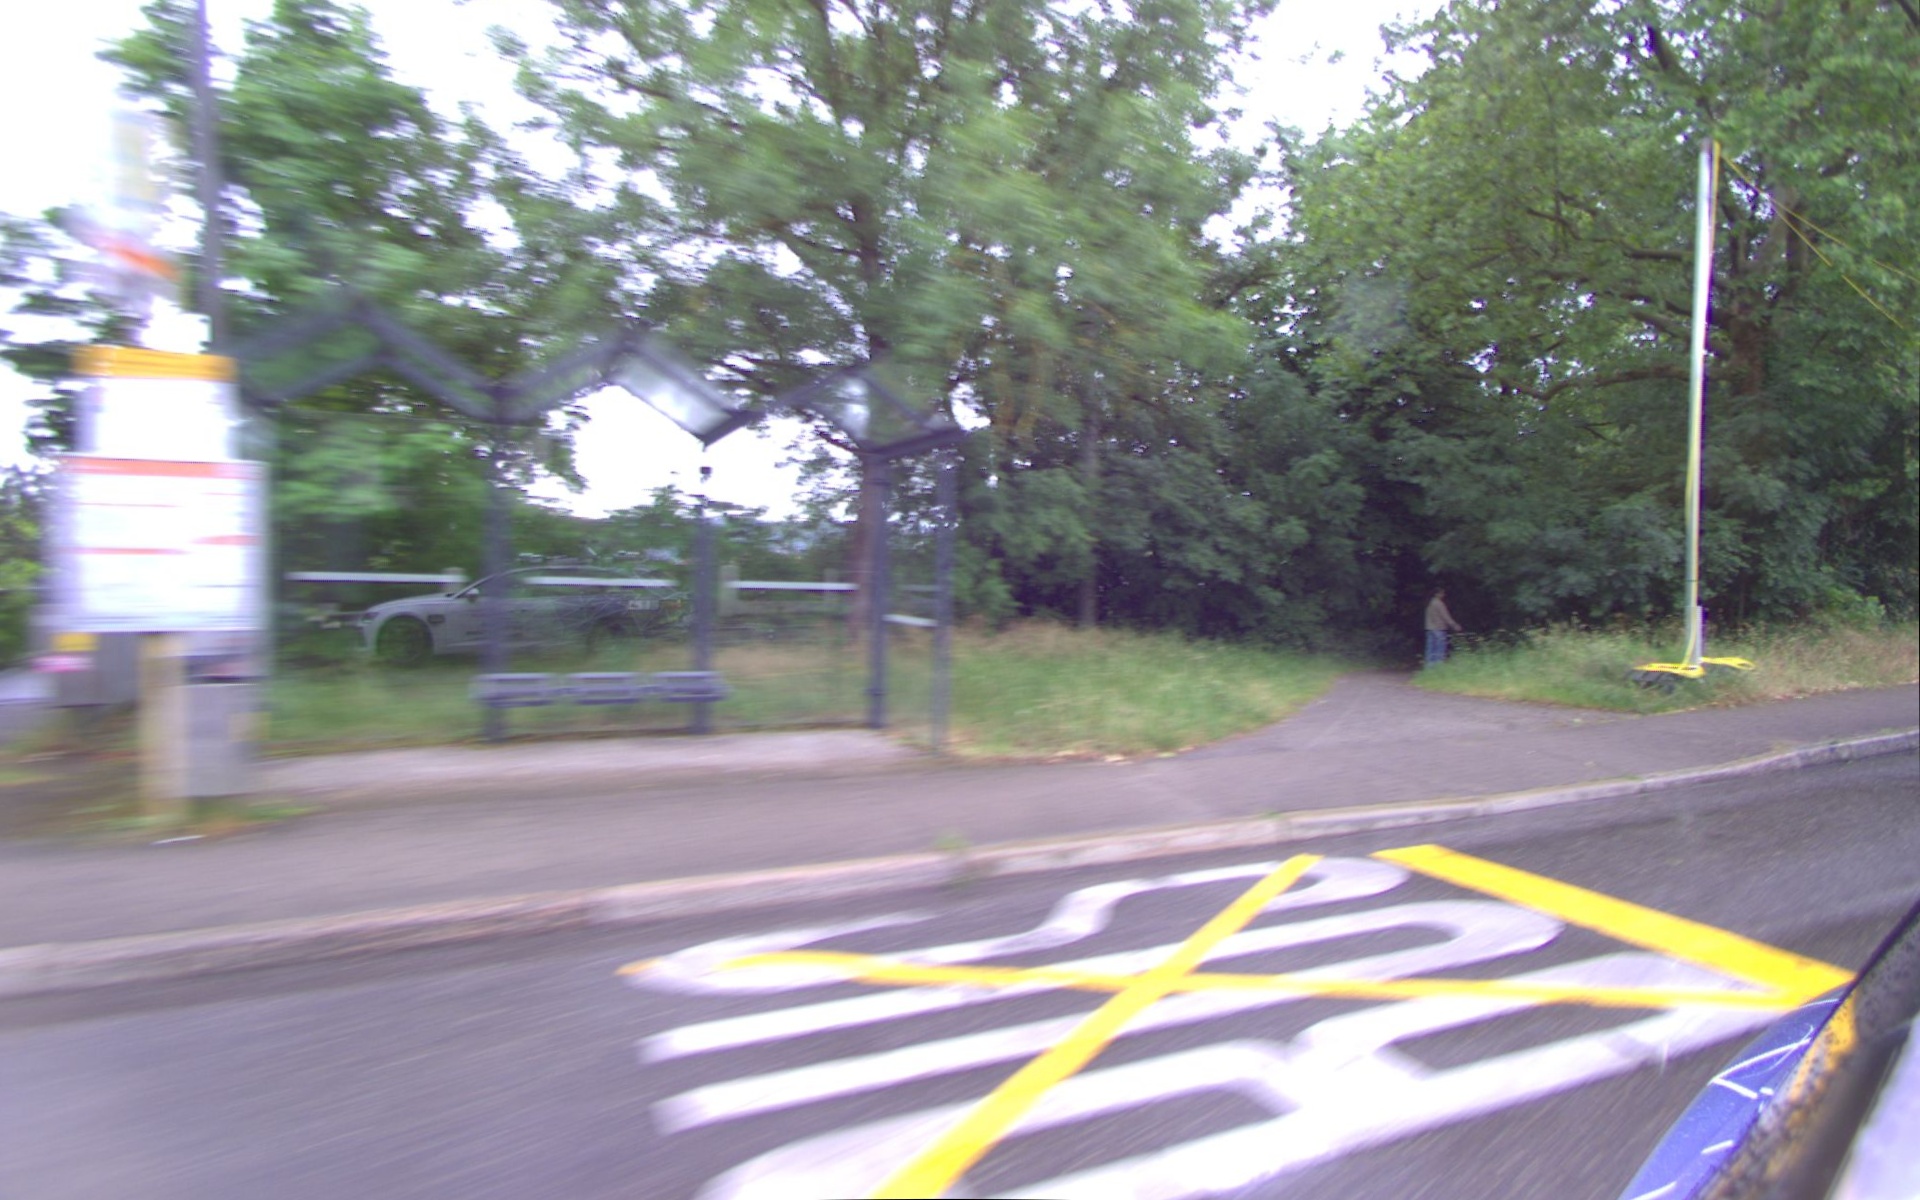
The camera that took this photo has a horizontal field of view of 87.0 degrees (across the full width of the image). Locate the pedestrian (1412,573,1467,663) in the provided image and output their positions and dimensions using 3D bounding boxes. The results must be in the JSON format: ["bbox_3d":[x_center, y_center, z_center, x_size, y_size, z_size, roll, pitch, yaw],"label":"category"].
[{"bbox_3d":[8.960,0.313,18.898,0.730,1.624,0.740,0,1,44],"label":"pedestrian"}]
